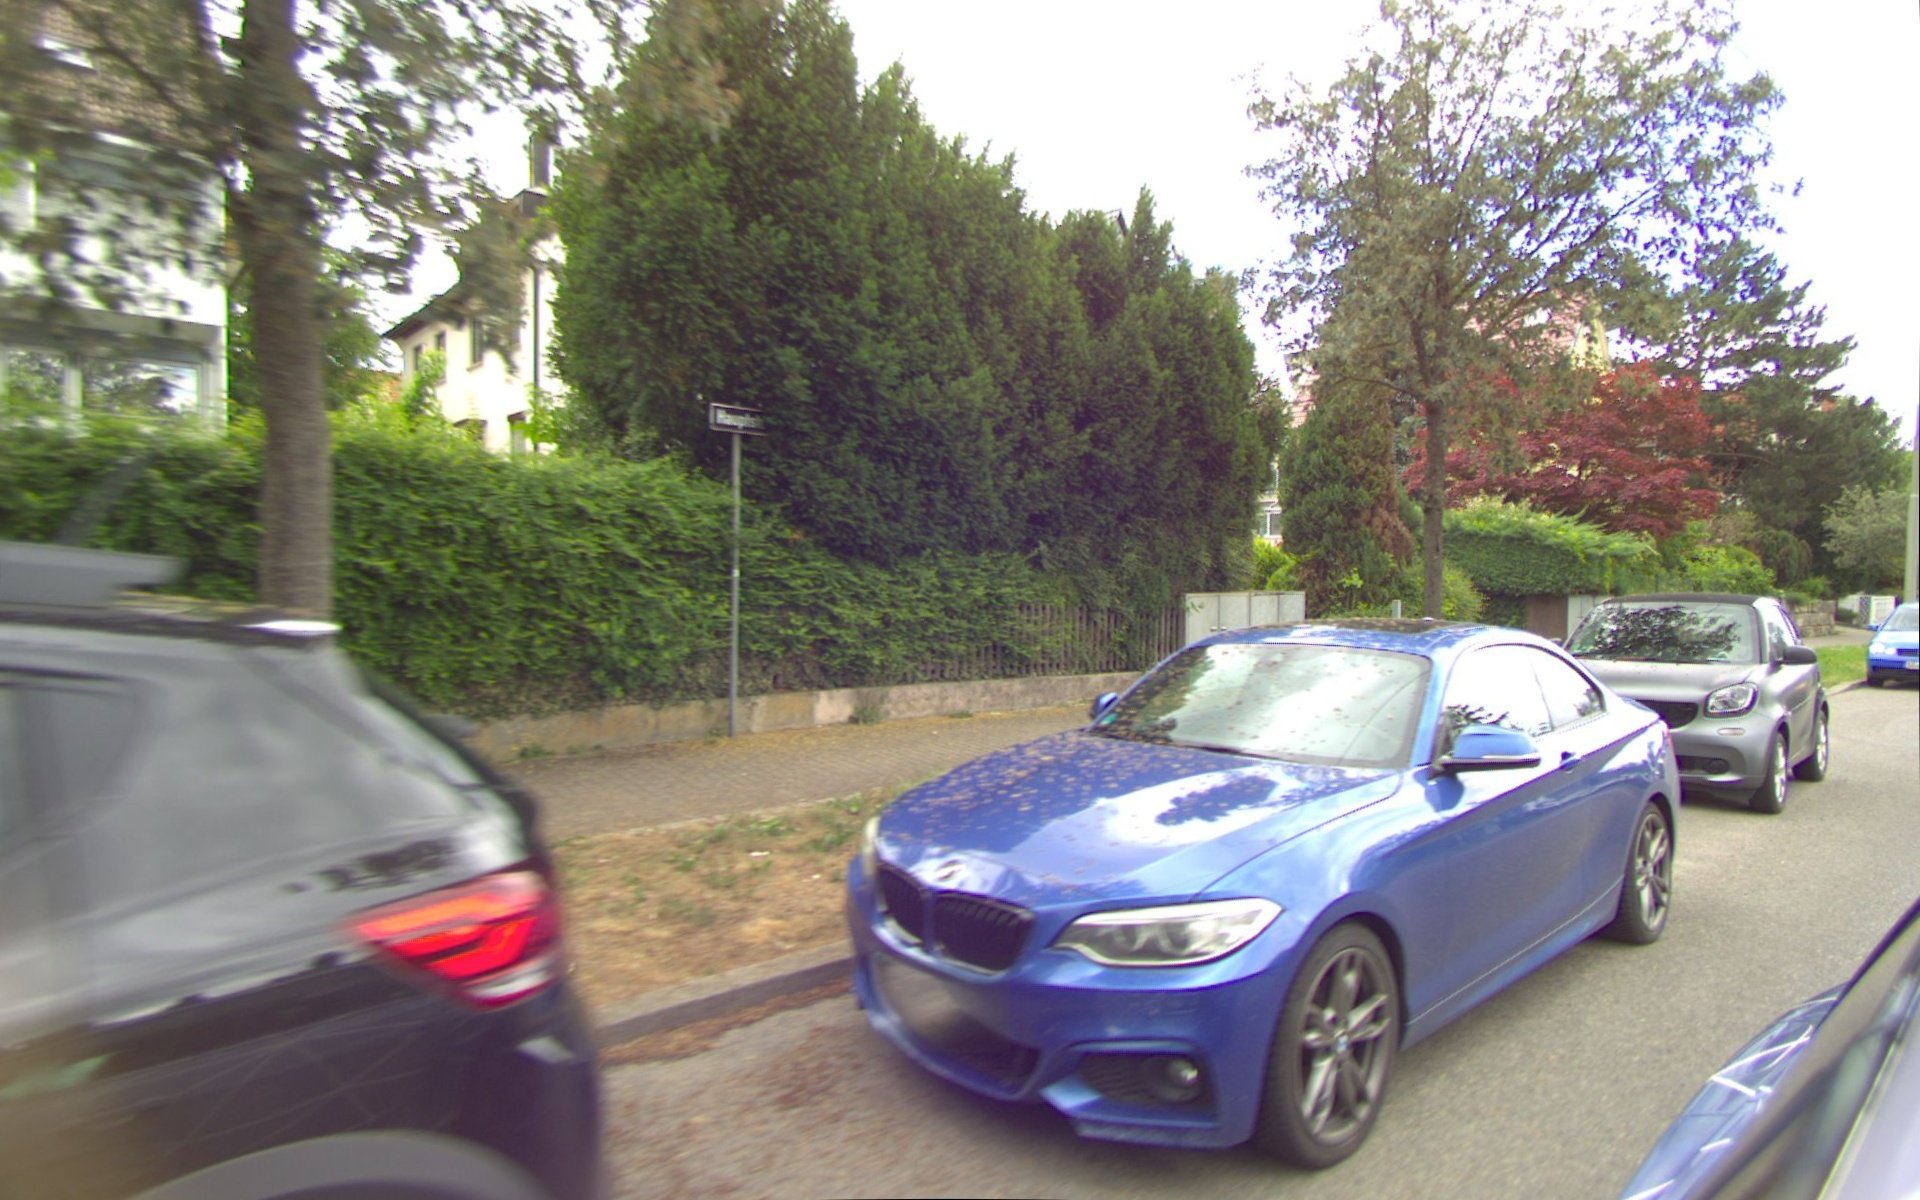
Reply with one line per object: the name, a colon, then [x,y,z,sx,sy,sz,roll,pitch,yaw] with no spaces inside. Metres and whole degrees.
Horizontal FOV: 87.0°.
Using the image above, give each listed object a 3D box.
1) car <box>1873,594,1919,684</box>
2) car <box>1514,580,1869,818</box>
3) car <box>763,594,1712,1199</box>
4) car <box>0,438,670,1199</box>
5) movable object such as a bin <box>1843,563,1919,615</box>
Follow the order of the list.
car: [17.426,0.640,17.680,3.806,1.470,1.630,0,0,-39]
car: [6.371,0.643,8.651,3.888,1.577,1.697,0,0,-42]
car: [1.493,0.713,4.166,4.264,1.451,1.700,0,1,-41]
car: [-2.431,0.616,0.825,3.889,1.590,1.697,0,1,-43]
movable object such as a bin: [37.370,-0.427,40.909,1.319,2.039,2.315,0,0,-39]
